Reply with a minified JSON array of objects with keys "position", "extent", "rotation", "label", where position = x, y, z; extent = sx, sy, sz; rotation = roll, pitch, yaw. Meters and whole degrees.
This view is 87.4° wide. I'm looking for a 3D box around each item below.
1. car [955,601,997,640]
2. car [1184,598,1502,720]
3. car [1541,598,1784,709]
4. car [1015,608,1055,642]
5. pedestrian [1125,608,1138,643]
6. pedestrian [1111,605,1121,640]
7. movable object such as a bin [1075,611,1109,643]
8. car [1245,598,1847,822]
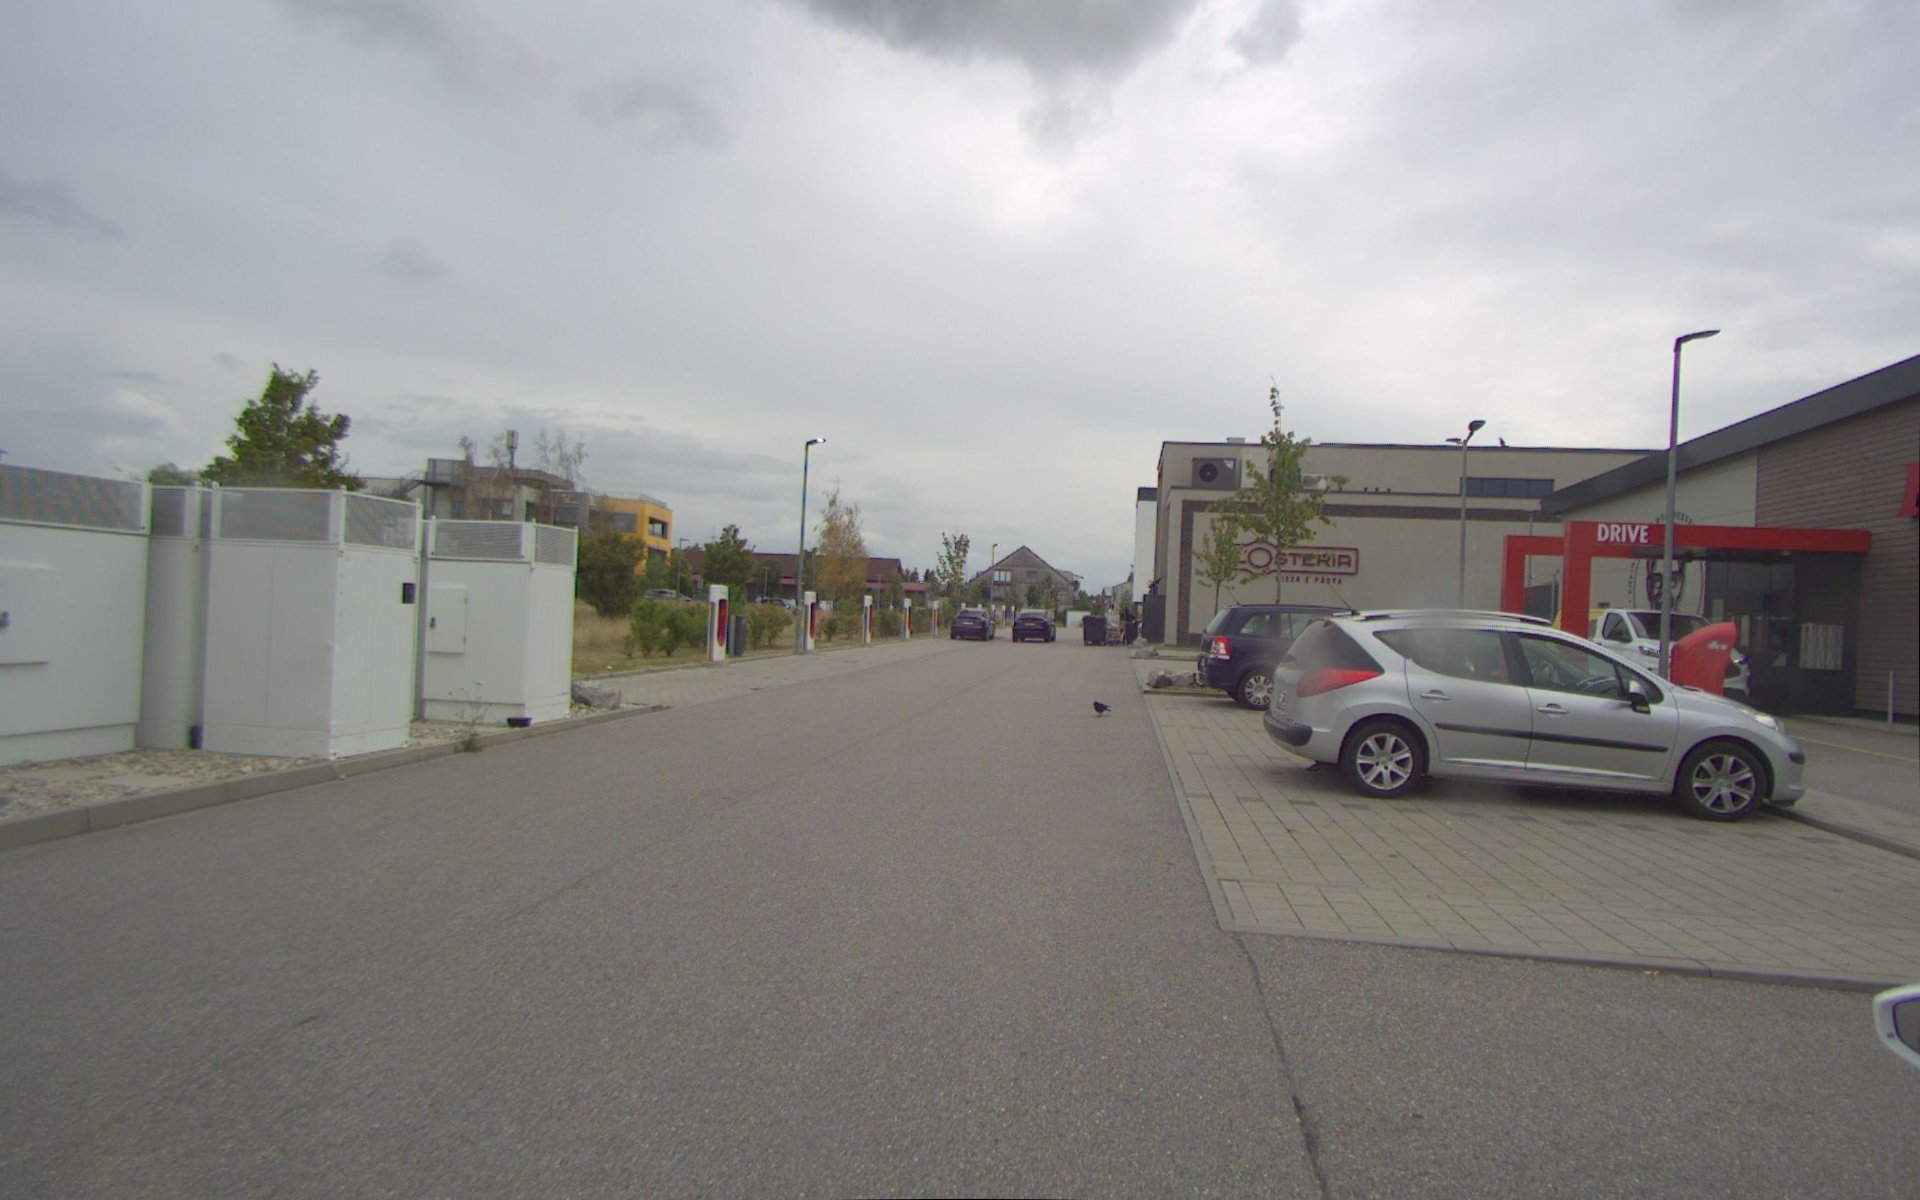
[{"position":[0.862,1.060,52.054],"extent":[1.799,1.795,4.002],"rotation":[4,-1,4],"label":"car"},{"position":[5.860,0.883,15.825],"extent":[4.395,1.638,1.586],"rotation":[2,-1,8],"label":"car"},{"position":[14.534,1.054,21.246],"extent":[2.235,1.957,5.126],"rotation":[2,-1,11],"label":"car"},{"position":[3.819,1.277,51.226],"extent":[1.960,1.617,4.002],"rotation":[1,-1,4],"label":"car"},{"position":[8.338,1.249,48.769],"extent":[0.562,1.706,0.390],"rotation":[1,-1,3],"label":"pedestrian"},{"position":[7.437,1.080,48.018],"extent":[0.422,1.666,0.390],"rotation":[1,-1,4],"label":"pedestrian"},{"position":[5.967,1.222,45.448],"extent":[1.339,1.368,1.873],"rotation":[1,-1,2],"label":"movable object such as a bin"},{"position":[4.668,0.832,8.560],"extent":[4.084,1.525,1.630],"rotation":[2,-1,8],"label":"car"}]
